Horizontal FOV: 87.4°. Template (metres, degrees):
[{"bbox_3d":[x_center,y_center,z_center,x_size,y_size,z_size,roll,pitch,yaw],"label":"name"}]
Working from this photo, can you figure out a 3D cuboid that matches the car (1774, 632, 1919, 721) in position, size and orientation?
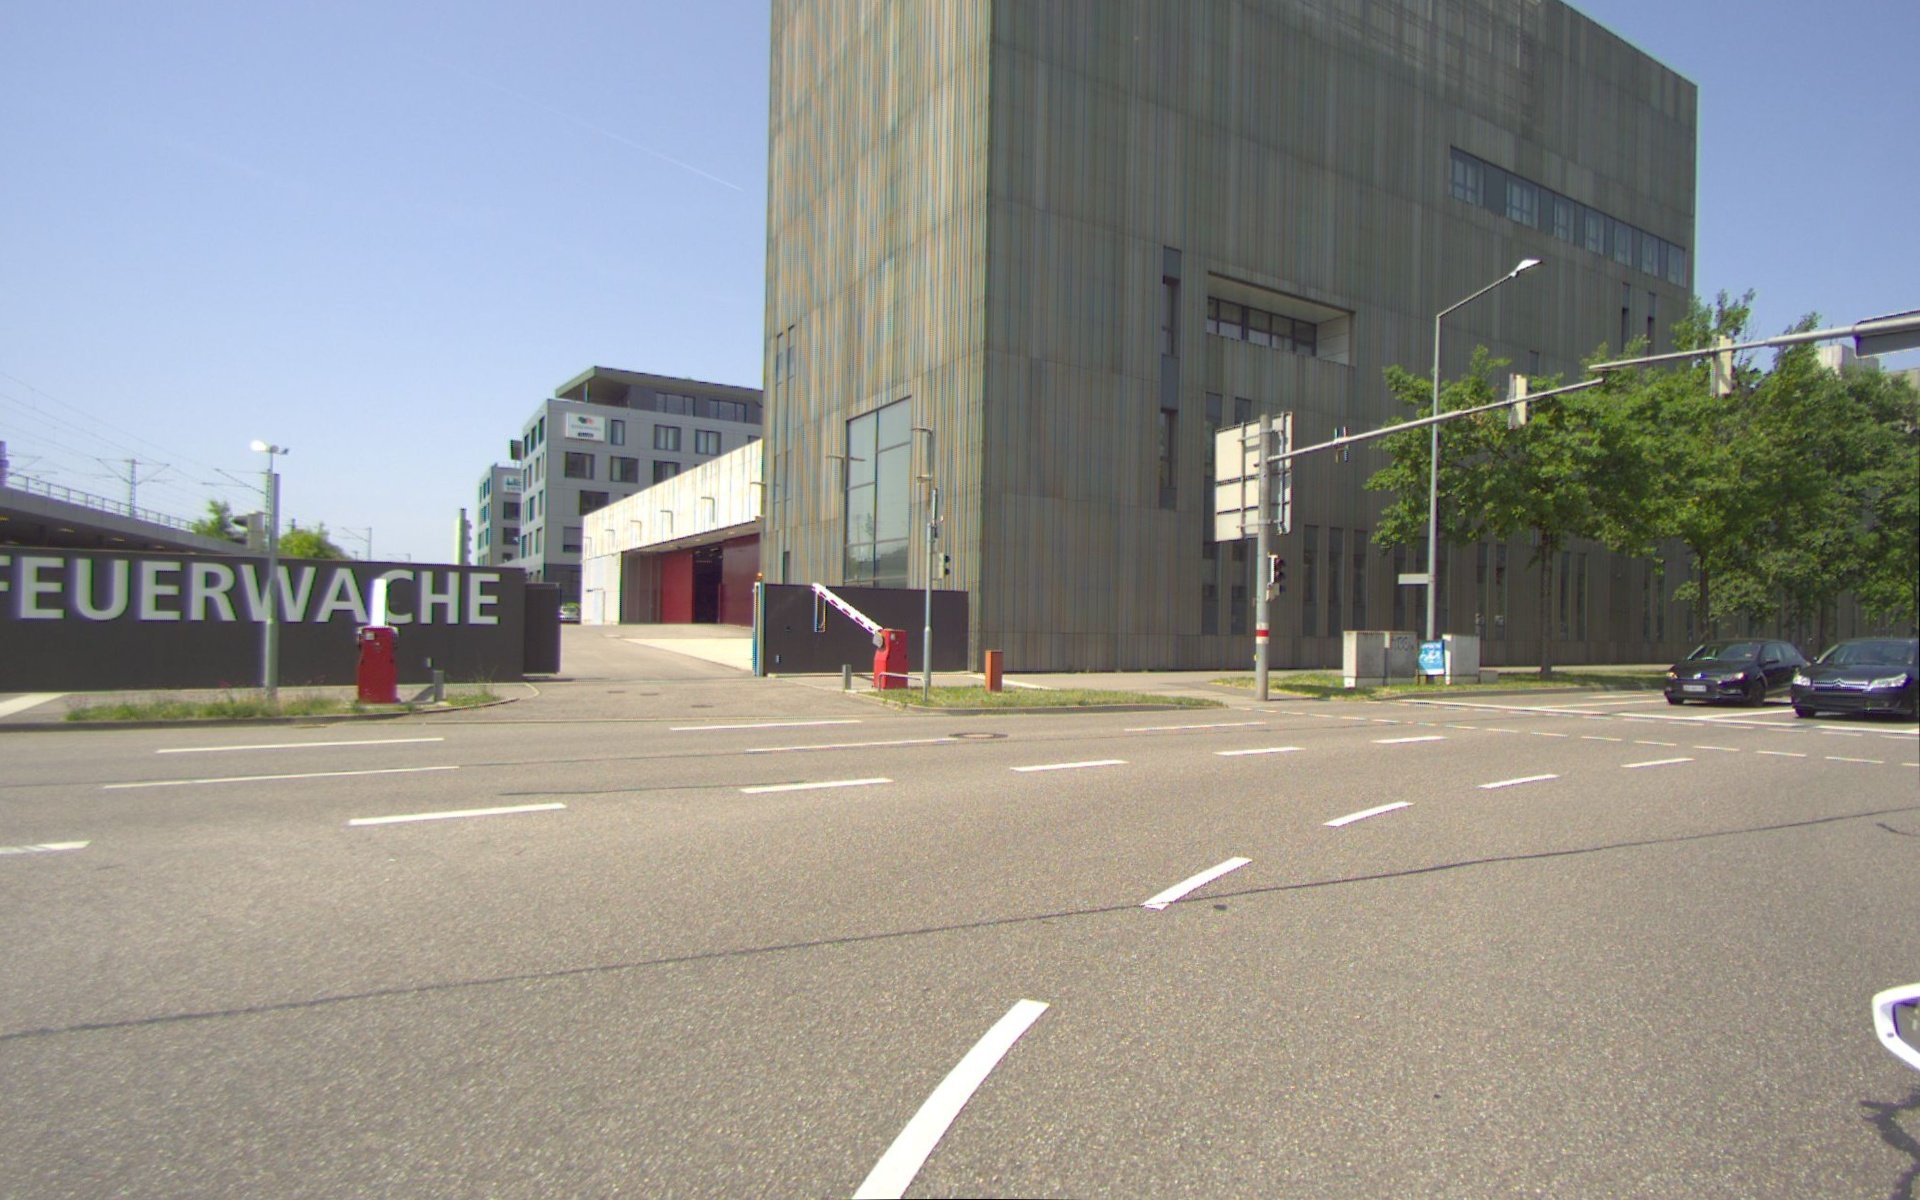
[{"bbox_3d":[16.937,1.333,18.515,4.205,1.465,1.800,2,-2,-33],"label":"car"}]

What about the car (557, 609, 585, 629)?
[{"bbox_3d":[-32.044,1.563,82.687,1.973,1.572,3.976,1,-1,-24],"label":"car"}]

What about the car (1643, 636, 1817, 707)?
[{"bbox_3d":[17.191,1.531,22.379,4.205,1.436,1.800,2,-2,-33],"label":"car"}]
